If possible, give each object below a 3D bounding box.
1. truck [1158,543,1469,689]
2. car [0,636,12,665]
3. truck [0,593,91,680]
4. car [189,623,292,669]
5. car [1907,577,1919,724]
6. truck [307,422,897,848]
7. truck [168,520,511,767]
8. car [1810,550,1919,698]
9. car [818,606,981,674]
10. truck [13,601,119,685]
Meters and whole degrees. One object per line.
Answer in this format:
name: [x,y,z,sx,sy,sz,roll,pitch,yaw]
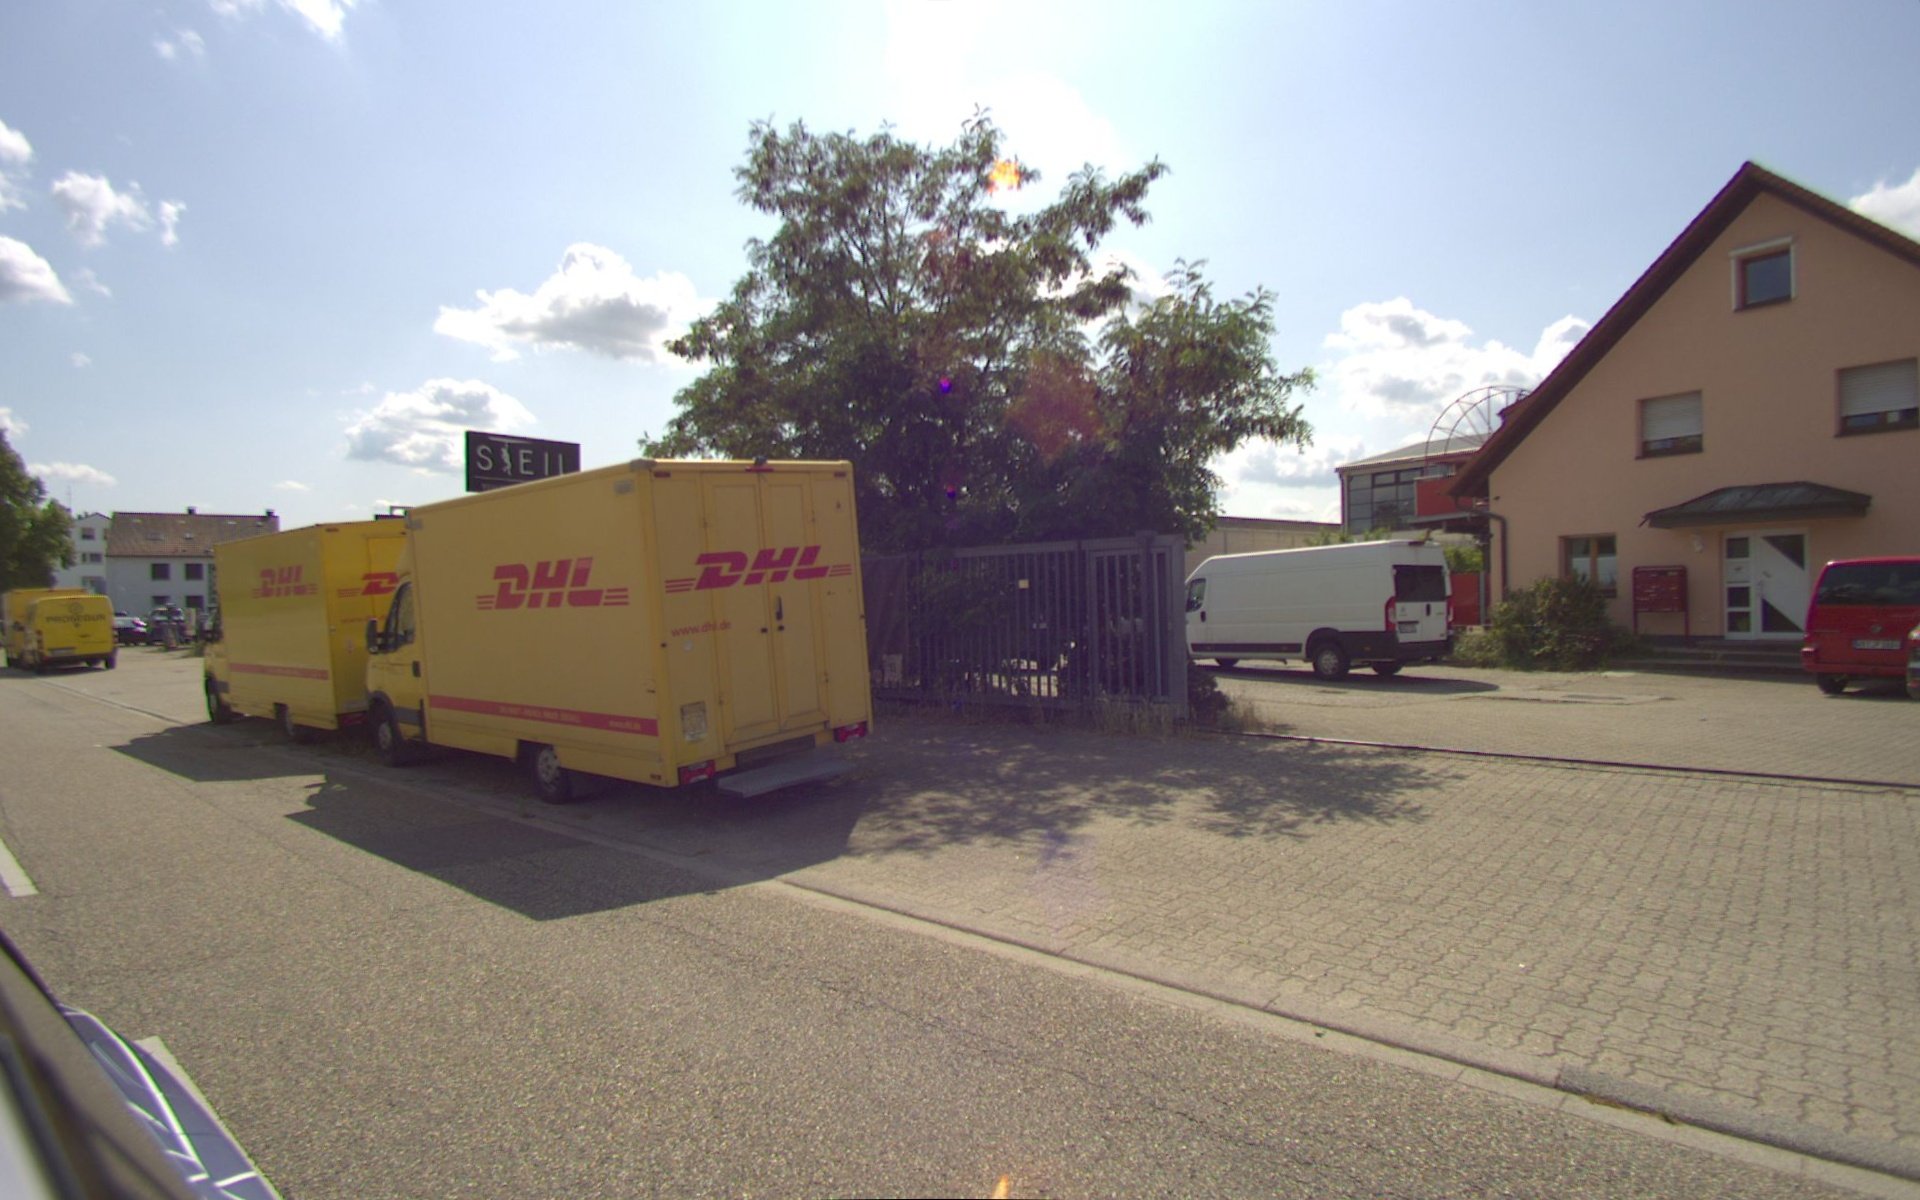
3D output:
truck: [6.851,0.334,20.396,2.082,2.506,5.735,-1,-1,-35]
car: [-49.504,2.601,49.350,4.526,1.405,2.001,-2,1,-2]
truck: [-34.267,1.329,37.635,7.070,2.878,2.196,-2,1,44]
car: [-28.953,1.848,40.703,4.694,1.718,1.814,-2,-1,33]
car: [12.109,0.454,10.432,3.931,1.527,1.901,-1,-2,-22]
truck: [-3.995,0.269,10.076,7.102,2.884,2.292,-2,1,42]
truck: [-9.441,0.562,14.982,7.171,2.876,2.245,-2,0,41]
car: [14.013,0.297,14.197,3.931,1.913,1.744,-1,-1,-27]
car: [-1.400,0.848,21.746,1.785,1.315,3.879,0,-2,-33]
truck: [-29.029,1.352,32.787,6.064,2.431,1.972,-2,1,43]
